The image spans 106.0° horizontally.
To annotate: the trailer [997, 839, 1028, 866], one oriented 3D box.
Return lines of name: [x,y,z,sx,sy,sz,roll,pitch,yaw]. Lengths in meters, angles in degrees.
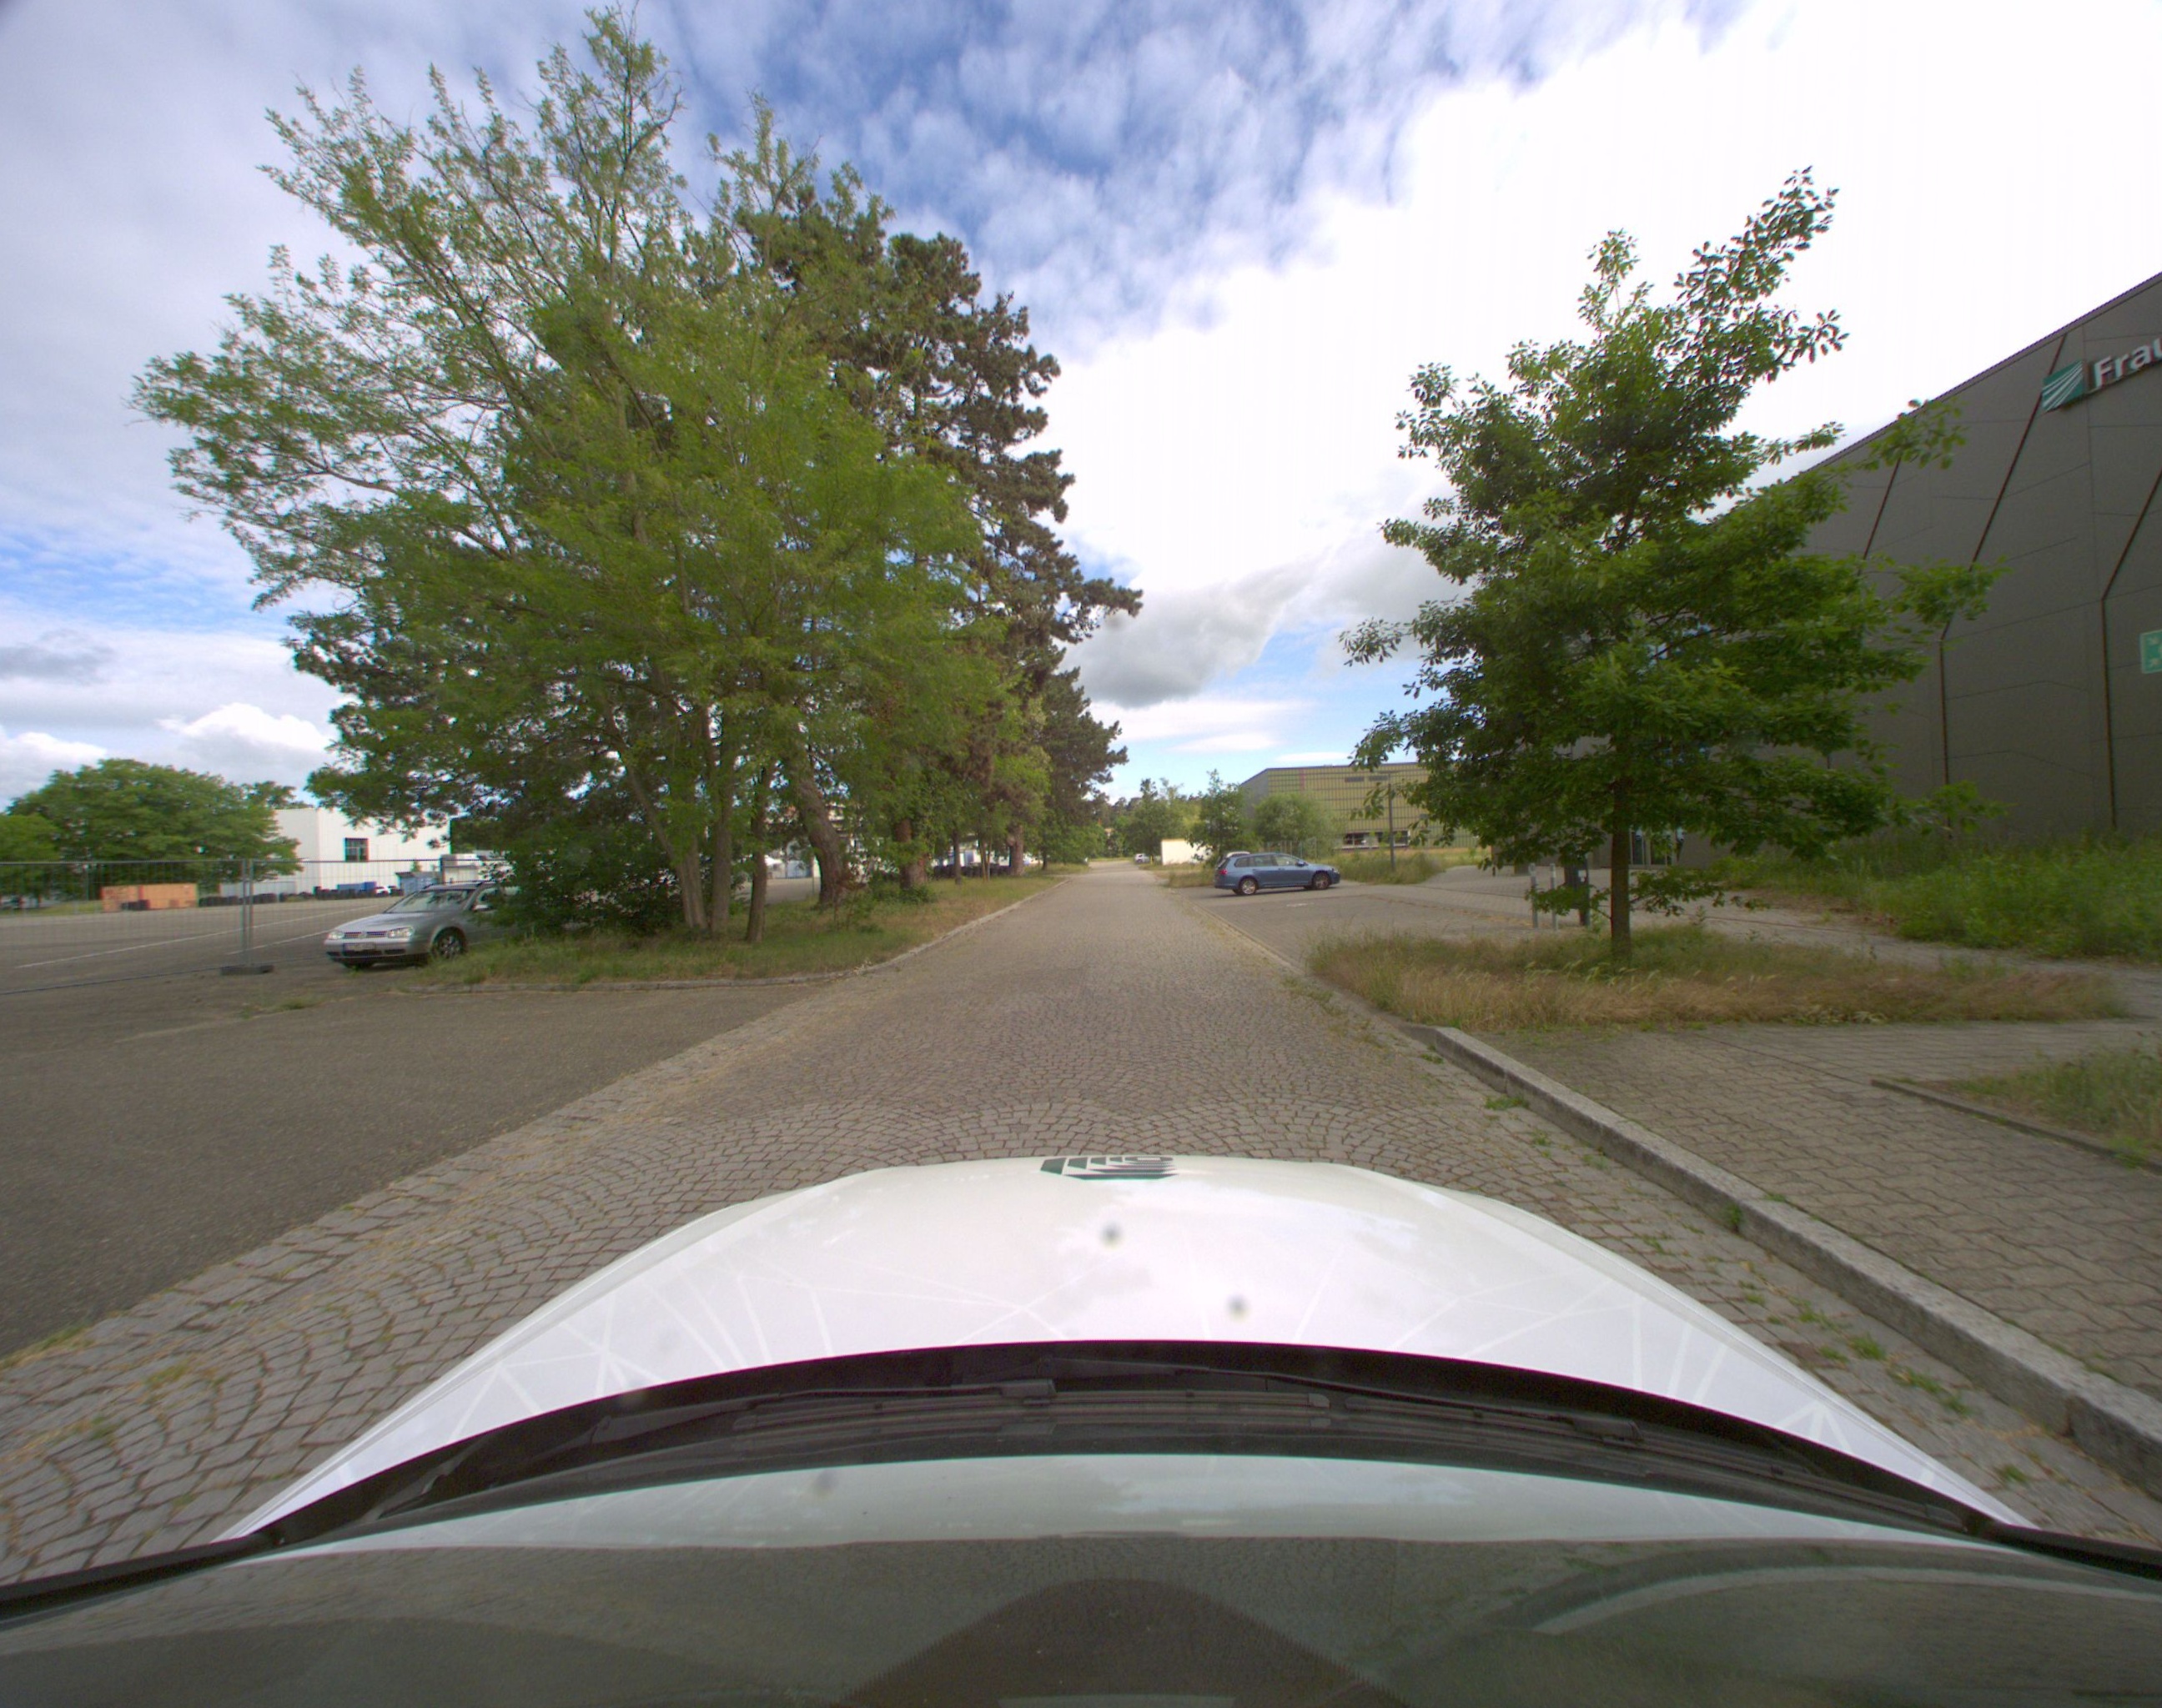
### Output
trailer: [-9.830,-0.259,117.437,2.613,3.598,10.190,-2,0,5]

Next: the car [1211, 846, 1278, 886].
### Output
car: [7.431,0.538,37.215,2.698,1.556,1.655,-4,0,3]

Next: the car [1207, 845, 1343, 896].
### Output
car: [7.007,0.585,29.717,4.477,1.475,1.830,-5,0,-1]

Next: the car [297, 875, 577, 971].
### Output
car: [-12.053,1.202,15.722,1.818,1.416,4.421,-2,0,0]

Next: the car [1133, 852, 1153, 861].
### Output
car: [11.164,0.367,146.855,3.508,1.362,1.624,-4,0,2]

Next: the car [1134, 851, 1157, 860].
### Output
car: [11.819,0.237,149.530,3.968,1.448,1.654,-4,0,2]
